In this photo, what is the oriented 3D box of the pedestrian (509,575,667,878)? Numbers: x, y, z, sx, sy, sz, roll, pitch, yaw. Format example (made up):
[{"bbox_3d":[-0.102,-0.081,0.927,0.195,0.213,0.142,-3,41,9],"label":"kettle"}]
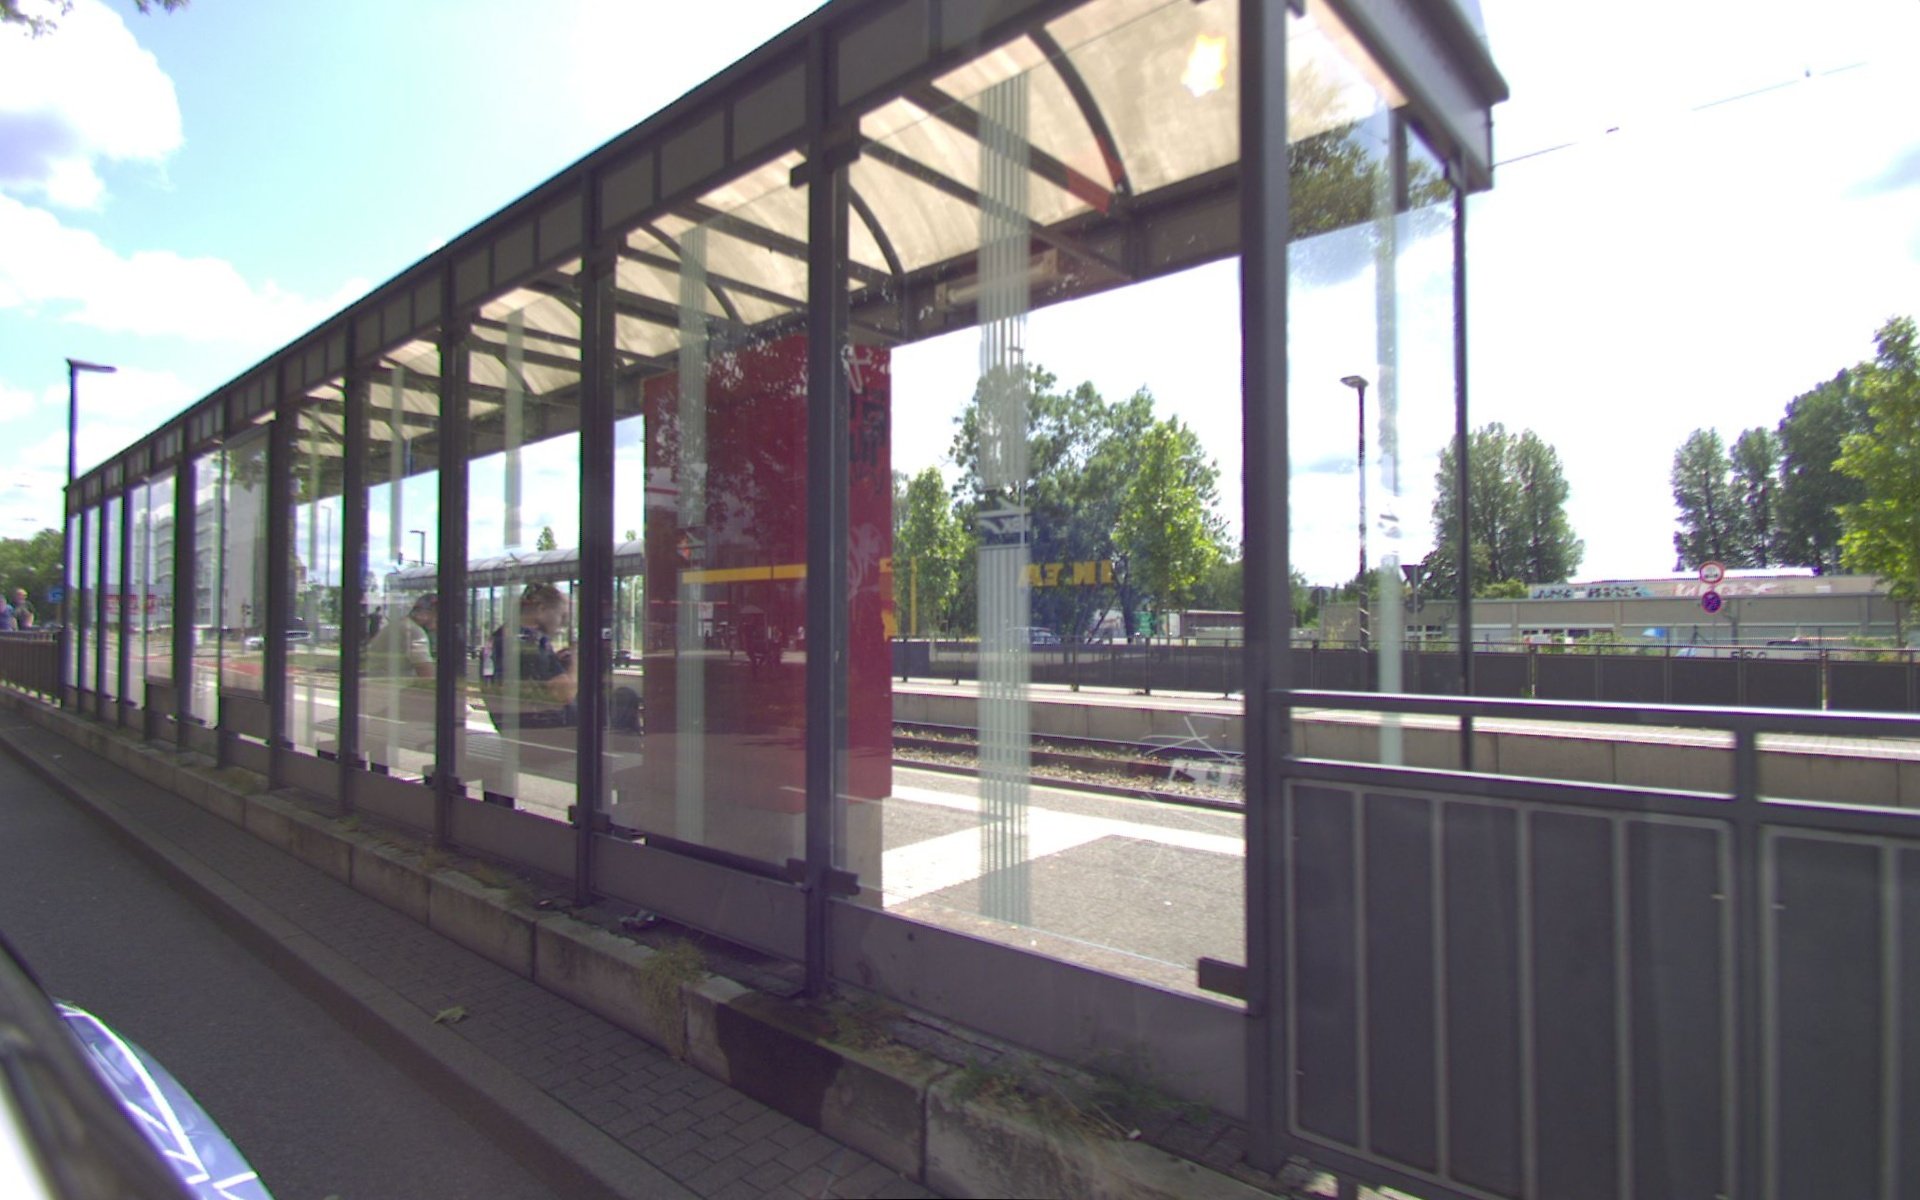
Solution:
[{"bbox_3d":[-1.682,0.539,4.575,0.468,1.262,0.493,-3,-3,38],"label":"pedestrian"}]

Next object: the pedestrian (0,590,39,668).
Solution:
[{"bbox_3d":[-24.257,0.745,25.939,0.994,1.954,0.864,-3,-3,42],"label":"pedestrian"}]

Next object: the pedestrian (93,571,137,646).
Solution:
[{"bbox_3d":[-21.154,0.219,25.329,0.930,1.821,0.726,-2,-2,43],"label":"pedestrian"}]

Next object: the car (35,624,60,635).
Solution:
[{"bbox_3d":[-117.847,3.850,130.710,3.885,1.419,1.650,-2,-2,36],"label":"car"}]

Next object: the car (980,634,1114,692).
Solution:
[{"bbox_3d":[2.548,1.882,30.534,1.687,1.597,4.006,0,-3,-40],"label":"car"}]

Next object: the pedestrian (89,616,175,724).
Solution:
[{"bbox_3d":[-9.658,0.793,11.805,0.642,1.199,0.686,-2,-1,42],"label":"pedestrian"}]

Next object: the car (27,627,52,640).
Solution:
[{"bbox_3d":[-132.103,4.805,145.224,4.314,1.671,1.791,-2,-7,37],"label":"car"}]

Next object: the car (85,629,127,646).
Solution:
[{"bbox_3d":[-94.292,4.157,111.757,4.642,1.787,1.868,-2,-2,26],"label":"car"}]

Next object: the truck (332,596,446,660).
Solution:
[{"bbox_3d":[-39.779,1.977,70.206,11.988,4.136,2.913,-2,-2,40],"label":"truck"}]

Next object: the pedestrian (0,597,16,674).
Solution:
[{"bbox_3d":[-22.566,0.837,23.593,0.930,1.769,0.726,-2,-2,43],"label":"pedestrian"}]

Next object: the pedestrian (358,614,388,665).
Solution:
[{"bbox_3d":[-21.451,1.425,36.972,0.930,1.821,0.726,-2,-2,43],"label":"pedestrian"}]

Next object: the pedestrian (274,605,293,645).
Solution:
[{"bbox_3d":[-29.825,1.105,44.623,0.592,1.735,0.709,1,-3,-44],"label":"pedestrian"}]
